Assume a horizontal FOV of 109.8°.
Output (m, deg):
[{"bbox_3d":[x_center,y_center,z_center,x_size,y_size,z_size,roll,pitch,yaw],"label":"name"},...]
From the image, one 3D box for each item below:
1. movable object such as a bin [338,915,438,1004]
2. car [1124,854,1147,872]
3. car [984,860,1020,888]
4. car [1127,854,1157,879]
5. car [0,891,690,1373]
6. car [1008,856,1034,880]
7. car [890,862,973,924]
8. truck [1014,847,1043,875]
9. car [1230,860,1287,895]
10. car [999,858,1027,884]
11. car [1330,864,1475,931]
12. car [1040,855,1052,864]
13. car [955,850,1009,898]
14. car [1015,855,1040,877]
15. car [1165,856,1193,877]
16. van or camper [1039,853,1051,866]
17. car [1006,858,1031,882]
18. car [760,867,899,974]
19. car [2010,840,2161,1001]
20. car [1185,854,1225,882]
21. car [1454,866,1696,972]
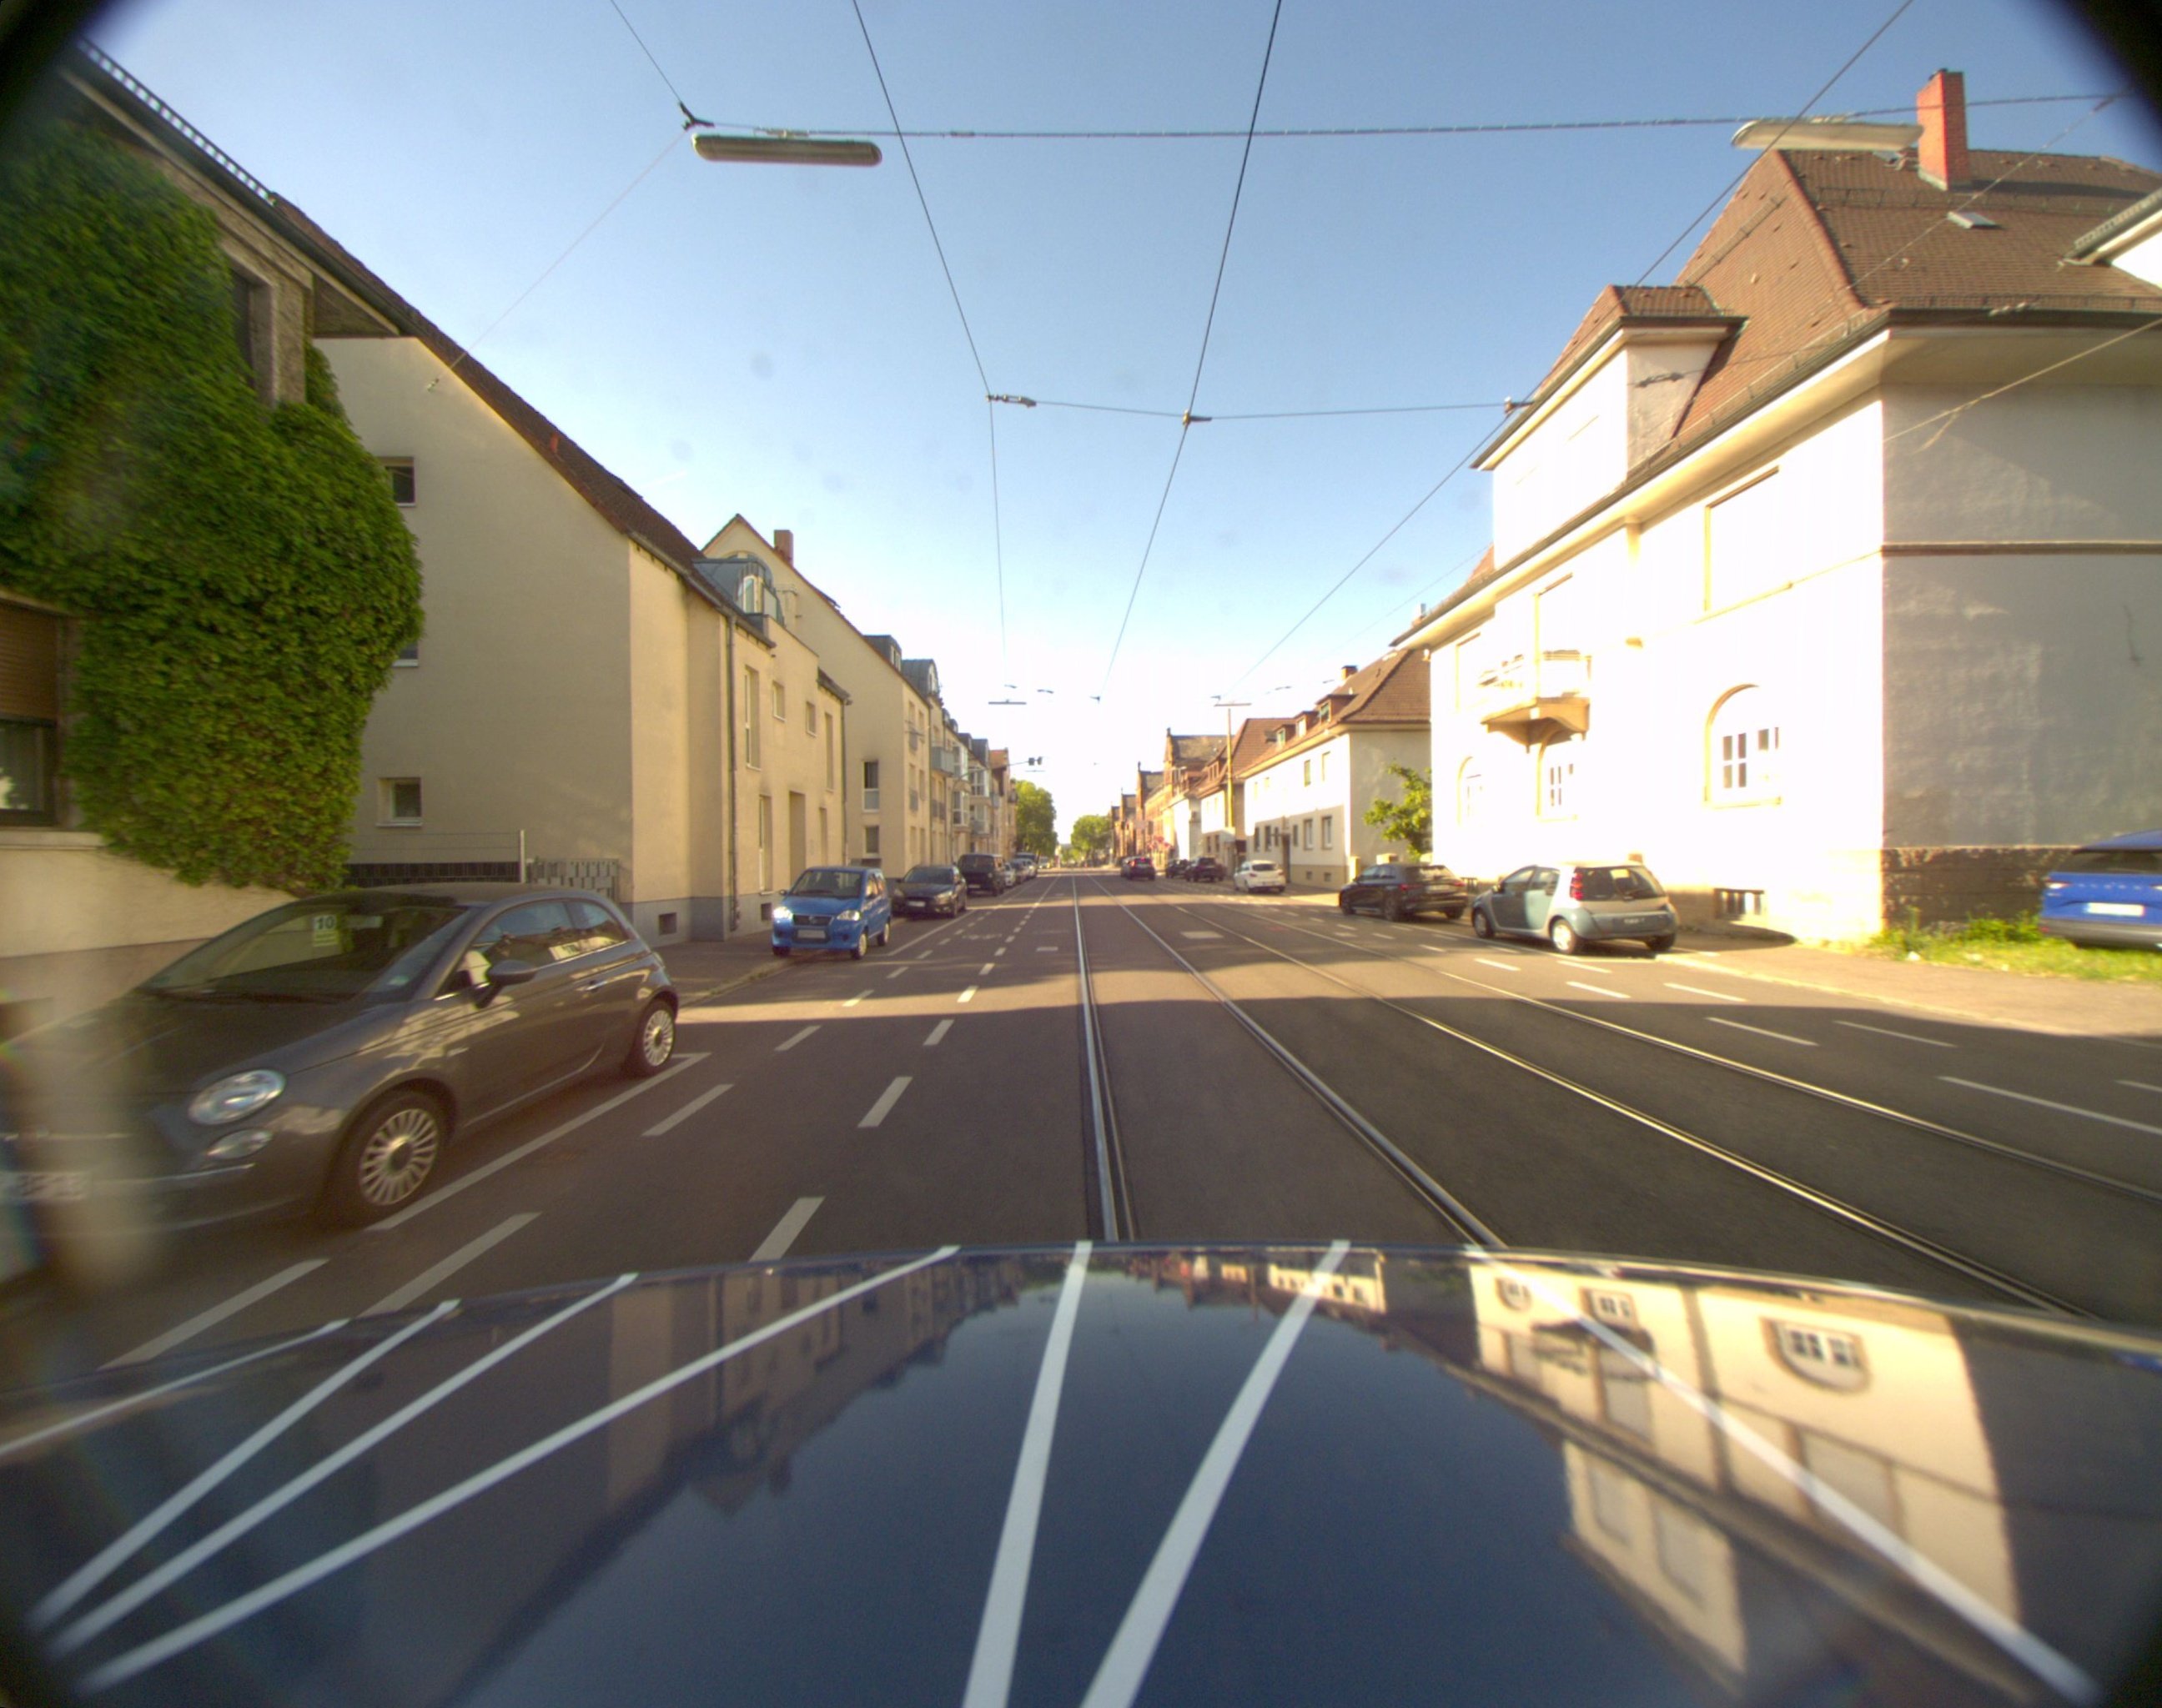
[{"bbox_3d":[-8.853,1.329,9.730,0.674,1.050,0.639,0,0,-3],"label":"movable object such as a bin"},{"bbox_3d":[4.390,0.700,61.854,1.621,1.452,4.075,1,0,1],"label":"car"},{"bbox_3d":[-4.535,1.125,44.154,1.681,1.482,4.172,-2,0,-1],"label":"car"},{"bbox_3d":[4.306,0.855,53.986,1.708,1.695,4.363,1,0,0],"label":"car"},{"bbox_3d":[-3.985,1.084,4.448,1.606,1.516,3.548,-2,0,-2],"label":"car"},{"bbox_3d":[-4.583,1.036,58.393,1.606,1.690,3.989,-2,0,0],"label":"car"},{"bbox_3d":[-4.355,1.076,22.769,1.749,1.589,4.432,-2,0,-2],"label":"car"},{"bbox_3d":[-4.791,0.652,70.046,2.301,2.463,6.146,0,0,0],"label":"truck"},{"bbox_3d":[8.022,1.044,34.647,1.635,1.449,4.015,1,0,0],"label":"car"},{"bbox_3d":[-4.370,1.054,49.255,1.558,1.548,3.652,-2,0,-1],"label":"car"},{"bbox_3d":[8.096,1.030,19.607,1.667,1.468,4.249,-1,0,-4],"label":"car"},{"bbox_3d":[-6.253,1.008,136.651,1.984,1.539,4.035,-1,-1,0],"label":"car"},{"bbox_3d":[-4.436,0.853,34.662,1.911,1.975,4.562,-2,0,-1],"label":"car"},{"bbox_3d":[-4.479,0.959,63.817,1.744,1.736,4.255,-2,0,0],"label":"car"},{"bbox_3d":[7.876,0.971,61.244,1.620,1.618,3.920,1,0,-1],"label":"car"},{"bbox_3d":[-6.961,1.045,147.054,1.999,2.346,5.599,-1,-2,-1],"label":"van or camper"},{"bbox_3d":[-4.385,1.097,53.721,1.500,1.548,3.364,-2,0,-1],"label":"car"},{"bbox_3d":[-4.343,1.069,13.587,1.461,1.589,3.293,-2,0,-2],"label":"car"},{"bbox_3d":[13.866,0.724,8.907,3.936,1.773,1.754,0,0,-2],"label":"car"},{"bbox_3d":[8.009,0.870,49.555,1.766,1.695,4.554,1,0,-1],"label":"car"},{"bbox_3d":[8.332,1.002,13.291,1.681,1.468,3.835,-2,0,0],"label":"car"}]
